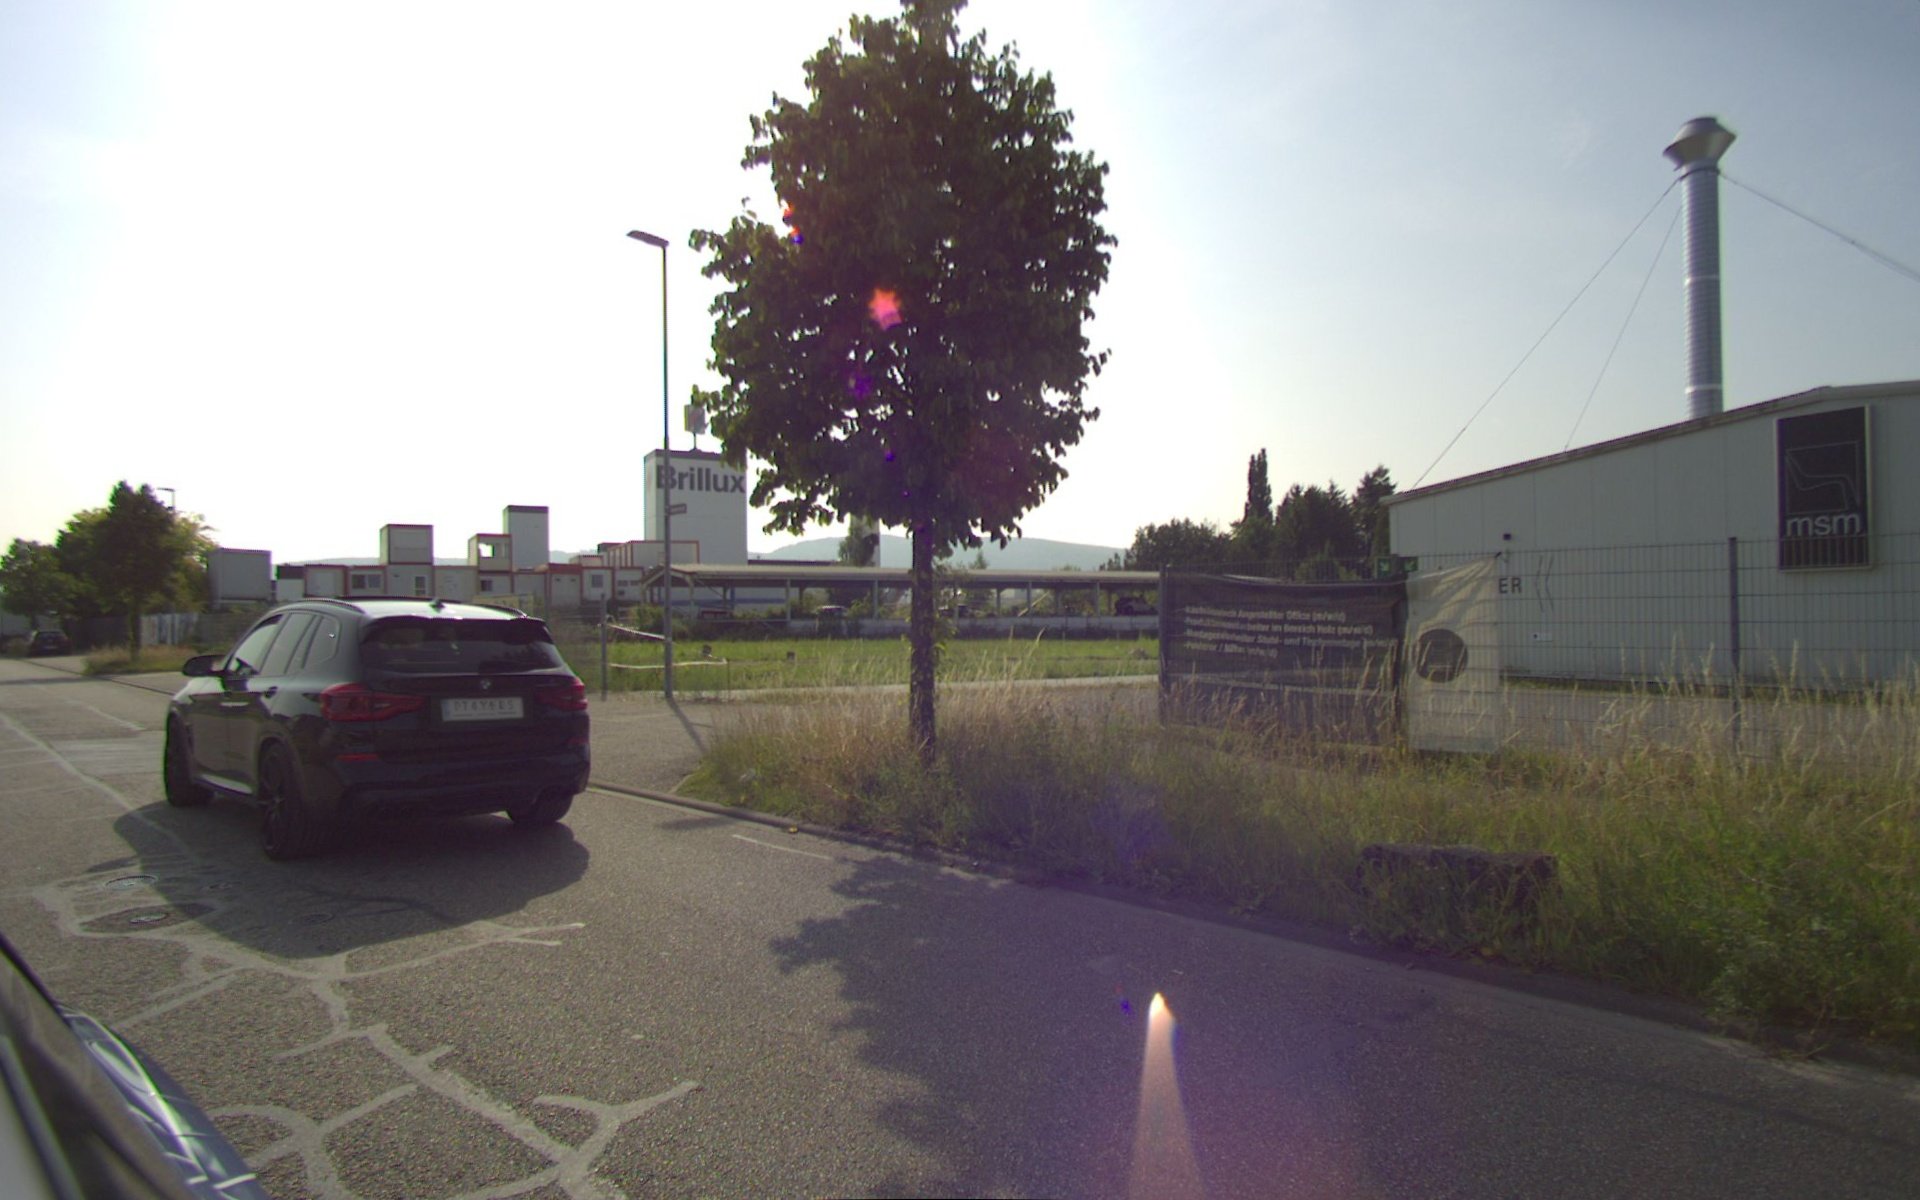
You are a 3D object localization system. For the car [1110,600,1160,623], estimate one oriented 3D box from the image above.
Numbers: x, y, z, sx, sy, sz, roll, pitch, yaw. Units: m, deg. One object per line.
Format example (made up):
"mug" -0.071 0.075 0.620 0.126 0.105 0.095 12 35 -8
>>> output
"car" 14.583 0.945 84.394 3.835 1.821 1.752 0 -2 -27

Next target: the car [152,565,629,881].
"car" -4.467 0.759 7.656 4.224 1.728 1.836 -2 -3 41

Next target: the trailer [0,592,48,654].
"trailer" -64.520 1.610 69.077 9.767 3.914 2.670 -2 -1 44

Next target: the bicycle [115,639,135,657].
"bicycle" -47.599 2.722 57.653 2.452 0.980 0.556 -2 -2 43

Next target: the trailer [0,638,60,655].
"trailer" -58.637 2.917 63.526 6.242 0.993 2.620 -2 -2 42

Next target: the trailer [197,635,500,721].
"trailer" -12.218 1.349 19.670 9.362 1.193 2.555 -2 0 43

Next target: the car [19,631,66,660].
"car" -50.019 2.447 55.163 4.095 1.481 1.668 -2 -2 44

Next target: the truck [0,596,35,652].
"truck" -71.500 1.827 75.690 9.637 3.914 2.683 -2 -1 44
